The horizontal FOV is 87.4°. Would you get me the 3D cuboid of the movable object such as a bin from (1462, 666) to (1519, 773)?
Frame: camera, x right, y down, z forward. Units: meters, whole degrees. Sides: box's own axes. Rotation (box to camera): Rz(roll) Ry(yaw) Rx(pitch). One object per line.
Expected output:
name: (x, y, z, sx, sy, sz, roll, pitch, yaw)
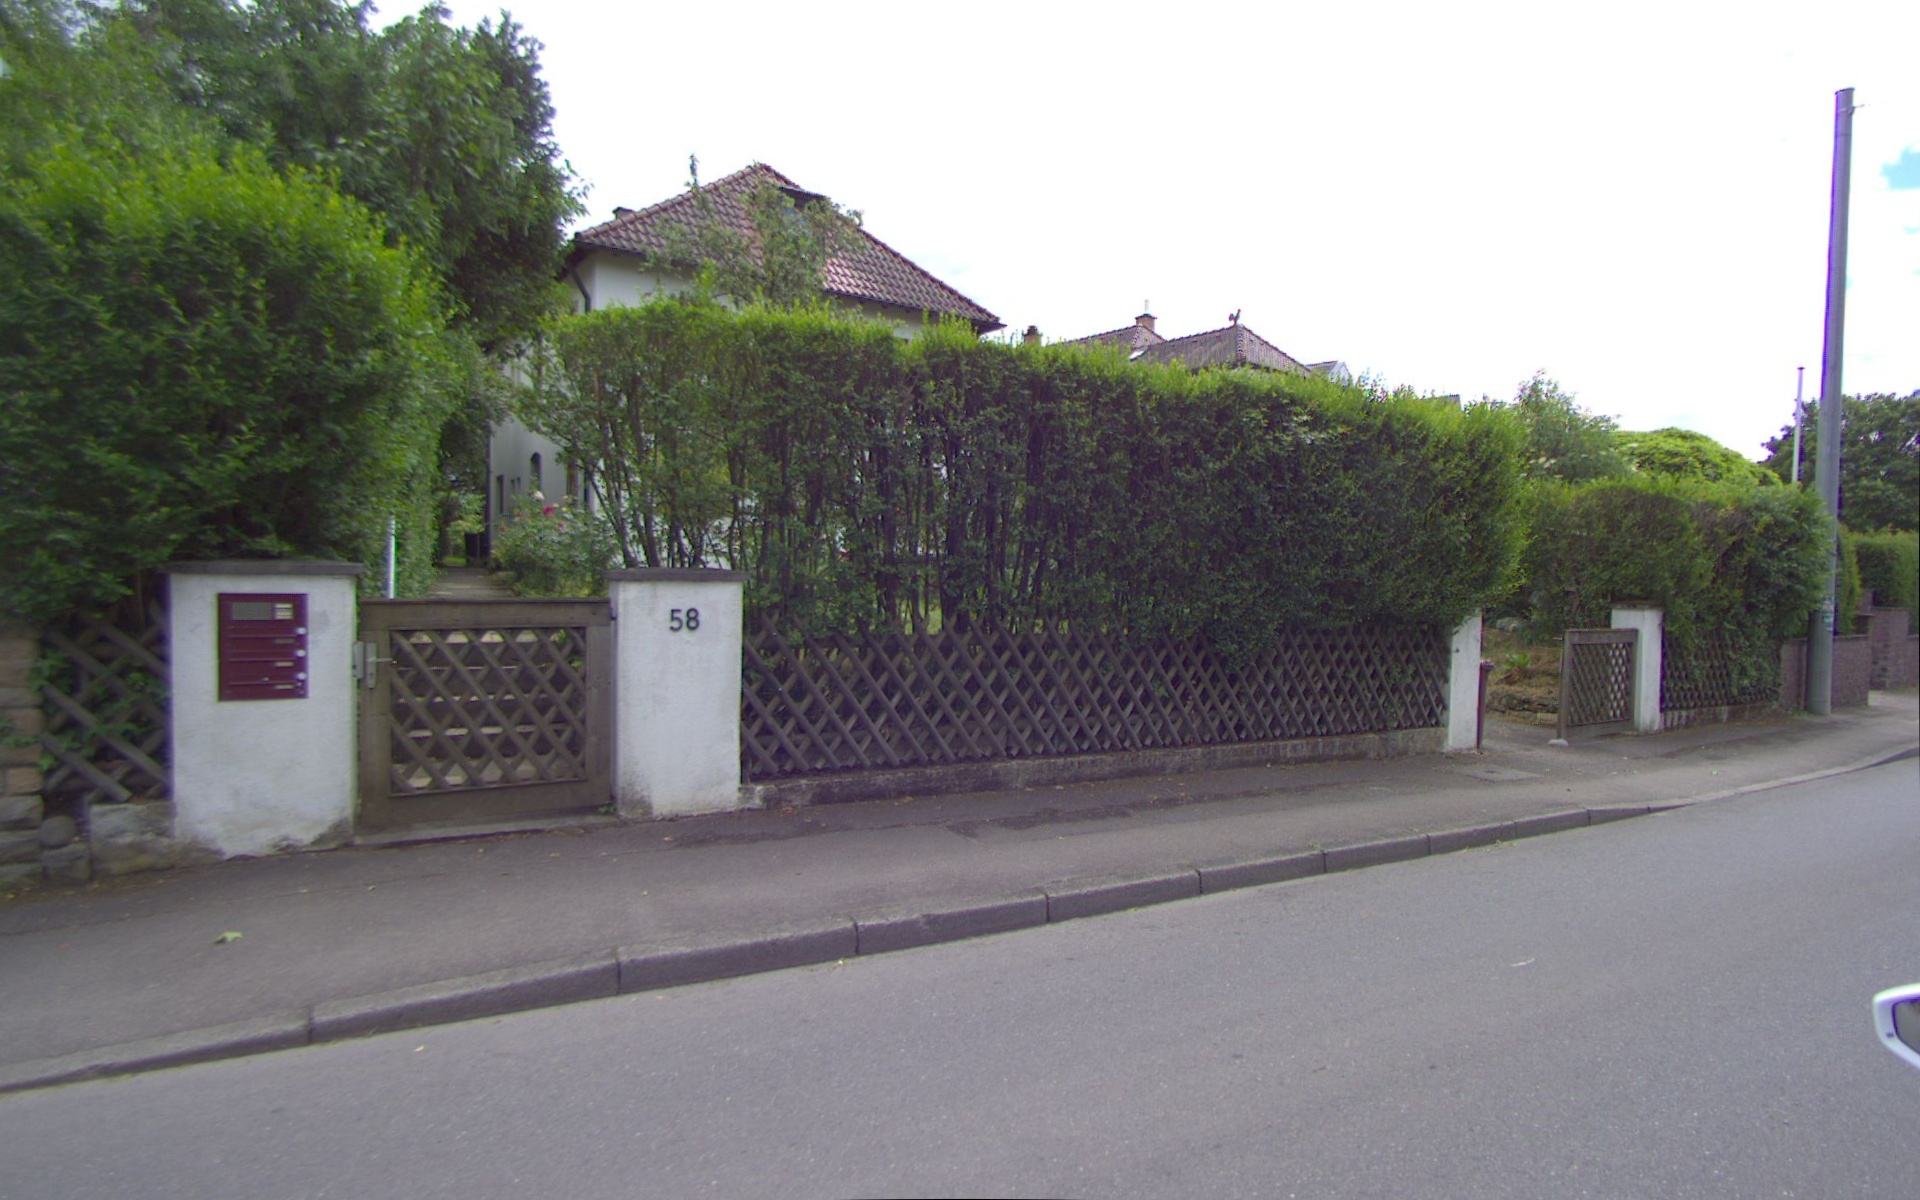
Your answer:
movable object such as a bin: (5.603, 1.249, 10.612, 0.441, 1.045, 0.497, 0, 1, 39)
